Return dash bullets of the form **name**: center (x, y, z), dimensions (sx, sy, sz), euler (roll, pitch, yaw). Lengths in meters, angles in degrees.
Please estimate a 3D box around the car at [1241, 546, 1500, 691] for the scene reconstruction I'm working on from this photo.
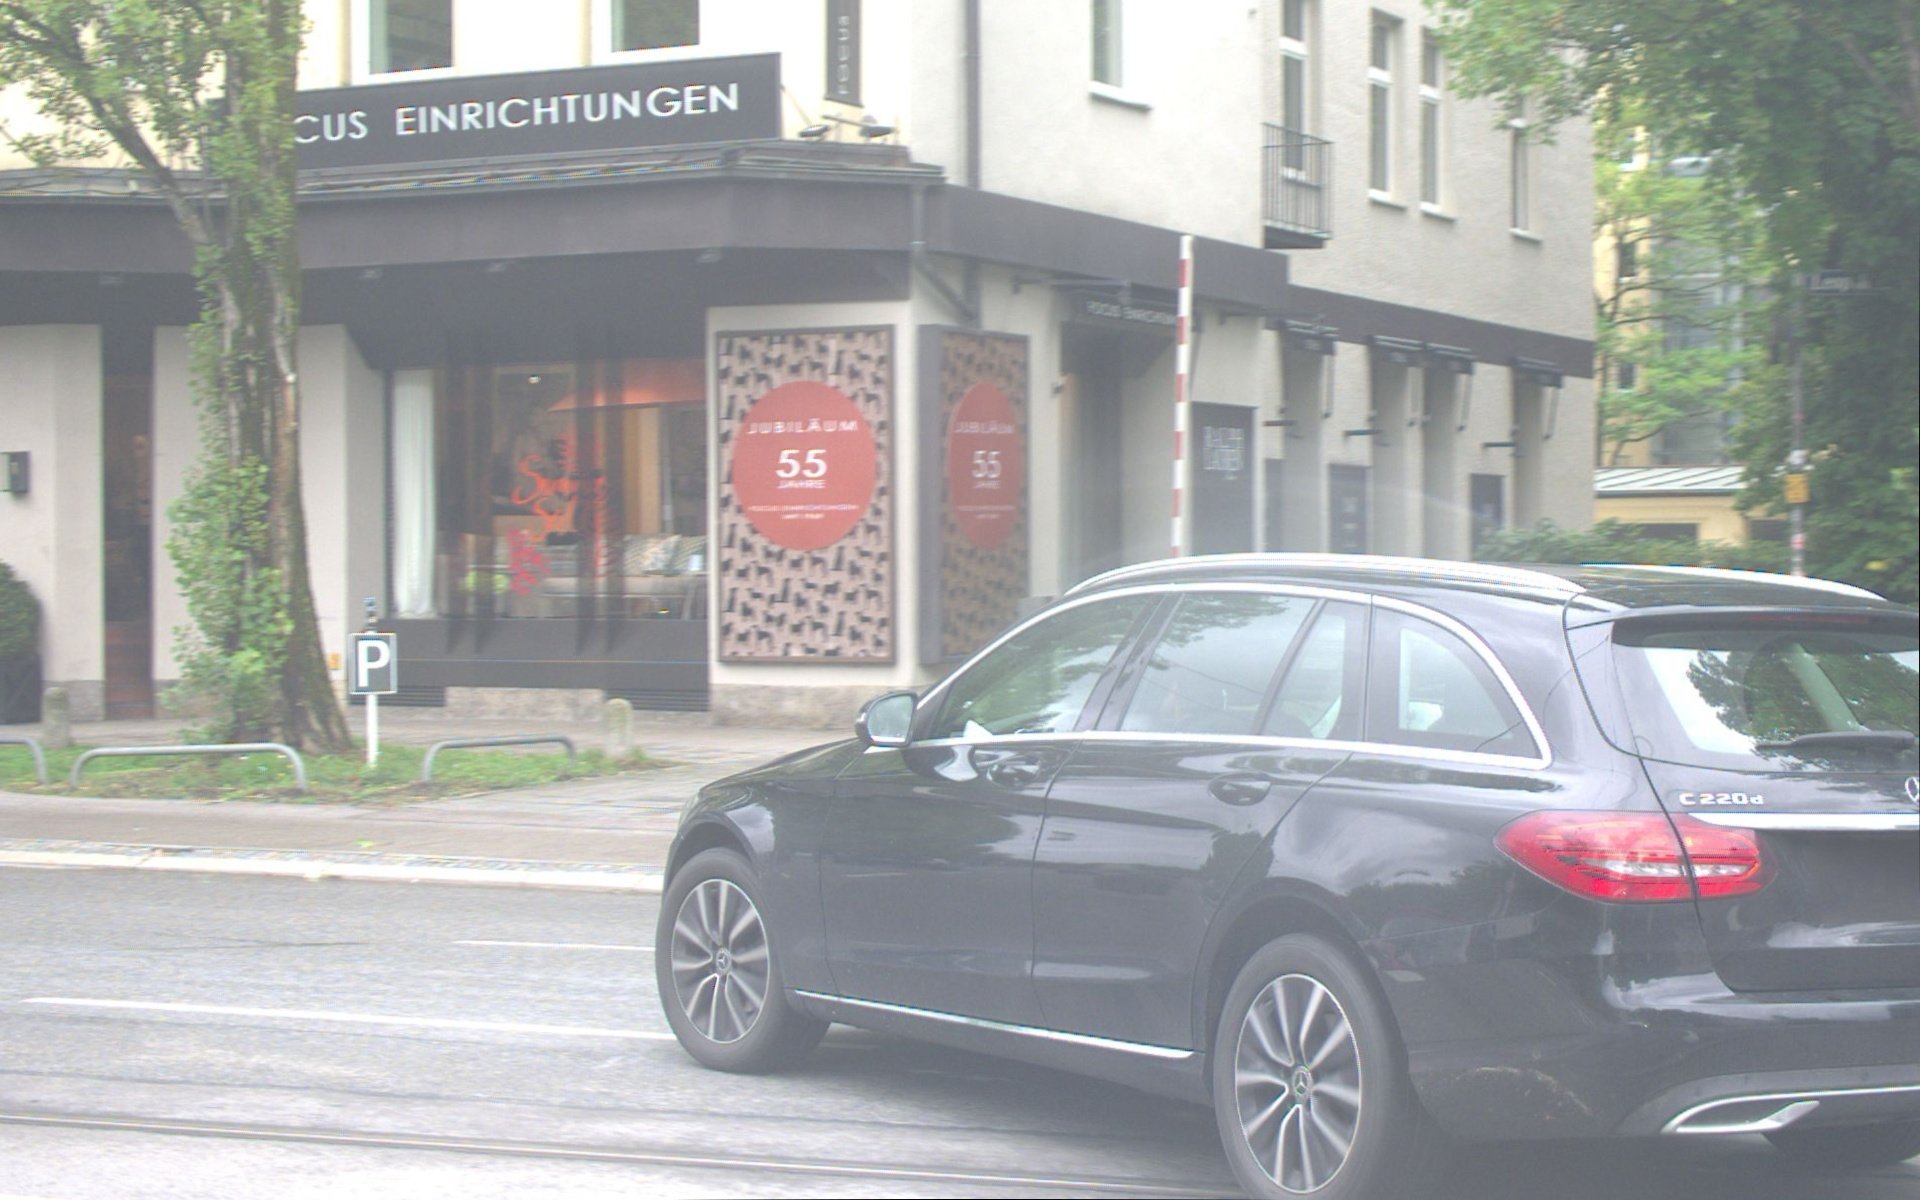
- **car**: center (4.451, 0.154, 36.789), dimensions (1.727, 1.437, 3.995), euler (0, 1, 22)

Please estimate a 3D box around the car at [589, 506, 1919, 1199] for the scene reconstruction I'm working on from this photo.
- **car**: center (0.841, 0.537, 8.843), dimensions (1.863, 1.544, 4.704), euler (-1, 2, -29)
